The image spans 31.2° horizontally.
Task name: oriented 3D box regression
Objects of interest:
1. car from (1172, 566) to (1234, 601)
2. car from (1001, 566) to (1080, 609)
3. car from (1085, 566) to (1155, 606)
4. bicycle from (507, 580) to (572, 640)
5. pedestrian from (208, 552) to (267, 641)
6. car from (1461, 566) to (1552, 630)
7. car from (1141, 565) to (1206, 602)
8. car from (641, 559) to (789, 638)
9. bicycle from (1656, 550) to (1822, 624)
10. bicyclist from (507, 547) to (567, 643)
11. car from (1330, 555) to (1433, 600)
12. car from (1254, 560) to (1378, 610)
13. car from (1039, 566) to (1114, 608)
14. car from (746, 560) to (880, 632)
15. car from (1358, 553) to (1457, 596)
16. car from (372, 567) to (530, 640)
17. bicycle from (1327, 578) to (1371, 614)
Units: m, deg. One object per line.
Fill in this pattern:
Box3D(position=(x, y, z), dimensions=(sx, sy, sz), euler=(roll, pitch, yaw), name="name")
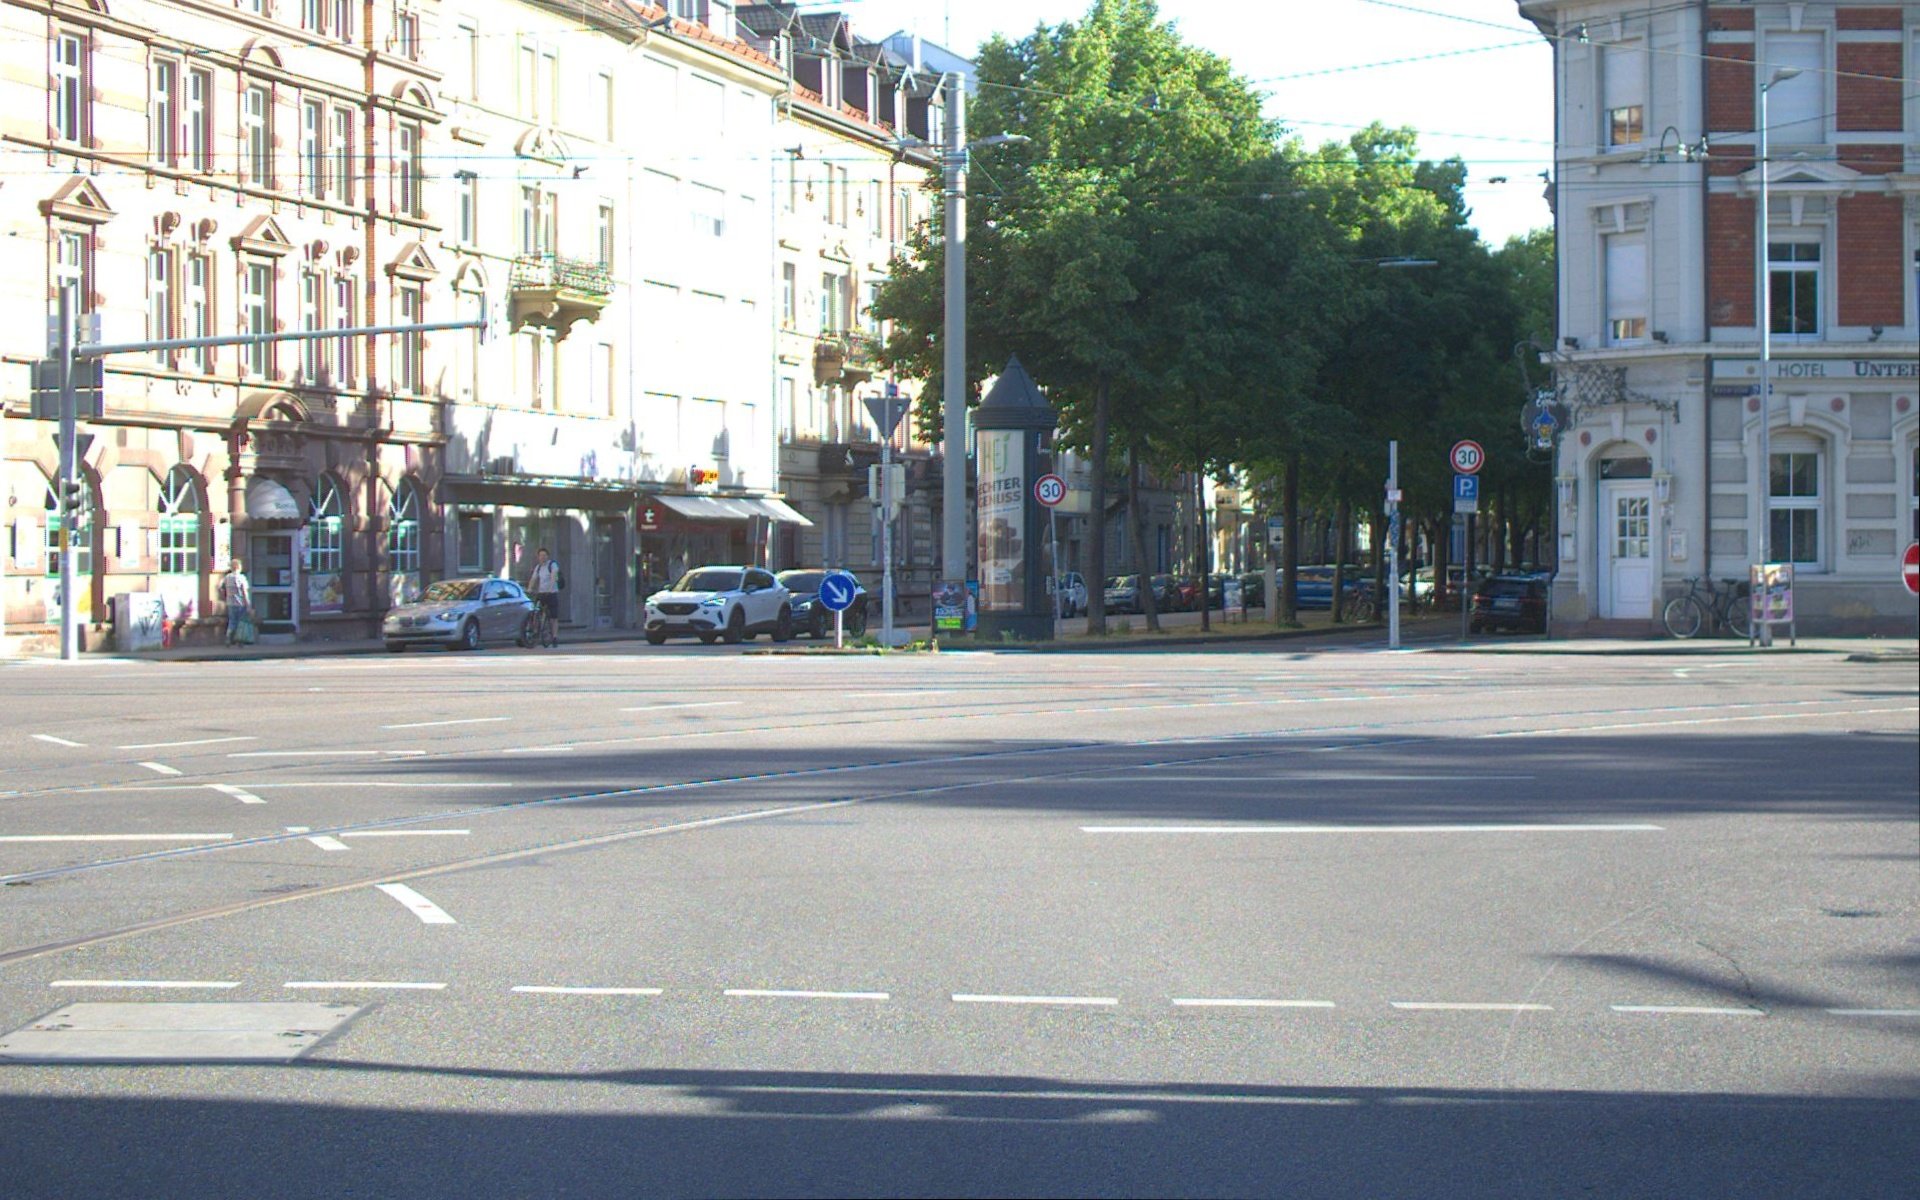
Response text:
Box3D(position=(9.608, -0.663, 135.786), dimensions=(1.678, 1.349, 3.588), euler=(0, 1, 16), name="car")
Box3D(position=(2.633, -0.409, 111.330), dimensions=(1.678, 1.349, 3.588), euler=(0, 1, 16), name="car")
Box3D(position=(5.701, -0.513, 122.449), dimensions=(1.678, 1.349, 3.588), euler=(0, 1, 16), name="car")
Box3D(position=(-7.978, 0.179, 65.271), dimensions=(0.702, 1.114, 1.634), euler=(1, 1, 13), name="bicycle")
Box3D(position=(-13.768, -0.069, 65.519), dimensions=(0.776, 1.664, 0.830), euler=(1, 0, 15), name="pedestrian")
Box3D(position=(13.149, -0.064, 82.582), dimensions=(1.678, 1.478, 3.945), euler=(0, 1, 16), name="car")
Box3D(position=(8.136, -0.624, 130.755), dimensions=(1.678, 1.349, 3.588), euler=(0, 1, 16), name="car")
Box3D(position=(-4.761, -0.058, 67.320), dimensions=(1.678, 1.478, 3.768), euler=(0, 1, 16), name="car")
Box3D(position=(12.971, -0.213, 57.284), dimensions=(2.554, 1.170, 0.819), euler=(1, 0, -3), name="bicycle")
Box3D(position=(-8.013, -0.094, 65.145), dimensions=(0.779, 1.797, 1.055), euler=(1, 0, 14), name="bicyclist")
Box3D(position=(15.709, -0.855, 128.042), dimensions=(3.582, 1.642, 1.681), euler=(0, 1, 17), name="car")
Box3D(position=(11.988, -0.518, 115.686), dimensions=(3.905, 1.642, 1.681), euler=(0, 1, 17), name="car")
Box3D(position=(3.930, -0.452, 115.487), dimensions=(1.678, 1.349, 3.588), euler=(0, 1, 16), name="car")
Box3D(position=(-3.119, -0.108, 73.622), dimensions=(1.678, 1.478, 3.945), euler=(0, 1, 16), name="car")
Box3D(position=(17.383, -1.010, 133.515), dimensions=(3.582, 1.642, 1.681), euler=(0, 1, 17), name="car")
Box3D(position=(-9.871, 0.050, 66.916), dimensions=(1.678, 1.349, 3.588), euler=(0, 1, 16), name="car")
Box3D(position=(11.259, -0.111, 99.492), dimensions=(0.636, 1.018, 1.847), euler=(1, 1, -14), name="bicycle")
